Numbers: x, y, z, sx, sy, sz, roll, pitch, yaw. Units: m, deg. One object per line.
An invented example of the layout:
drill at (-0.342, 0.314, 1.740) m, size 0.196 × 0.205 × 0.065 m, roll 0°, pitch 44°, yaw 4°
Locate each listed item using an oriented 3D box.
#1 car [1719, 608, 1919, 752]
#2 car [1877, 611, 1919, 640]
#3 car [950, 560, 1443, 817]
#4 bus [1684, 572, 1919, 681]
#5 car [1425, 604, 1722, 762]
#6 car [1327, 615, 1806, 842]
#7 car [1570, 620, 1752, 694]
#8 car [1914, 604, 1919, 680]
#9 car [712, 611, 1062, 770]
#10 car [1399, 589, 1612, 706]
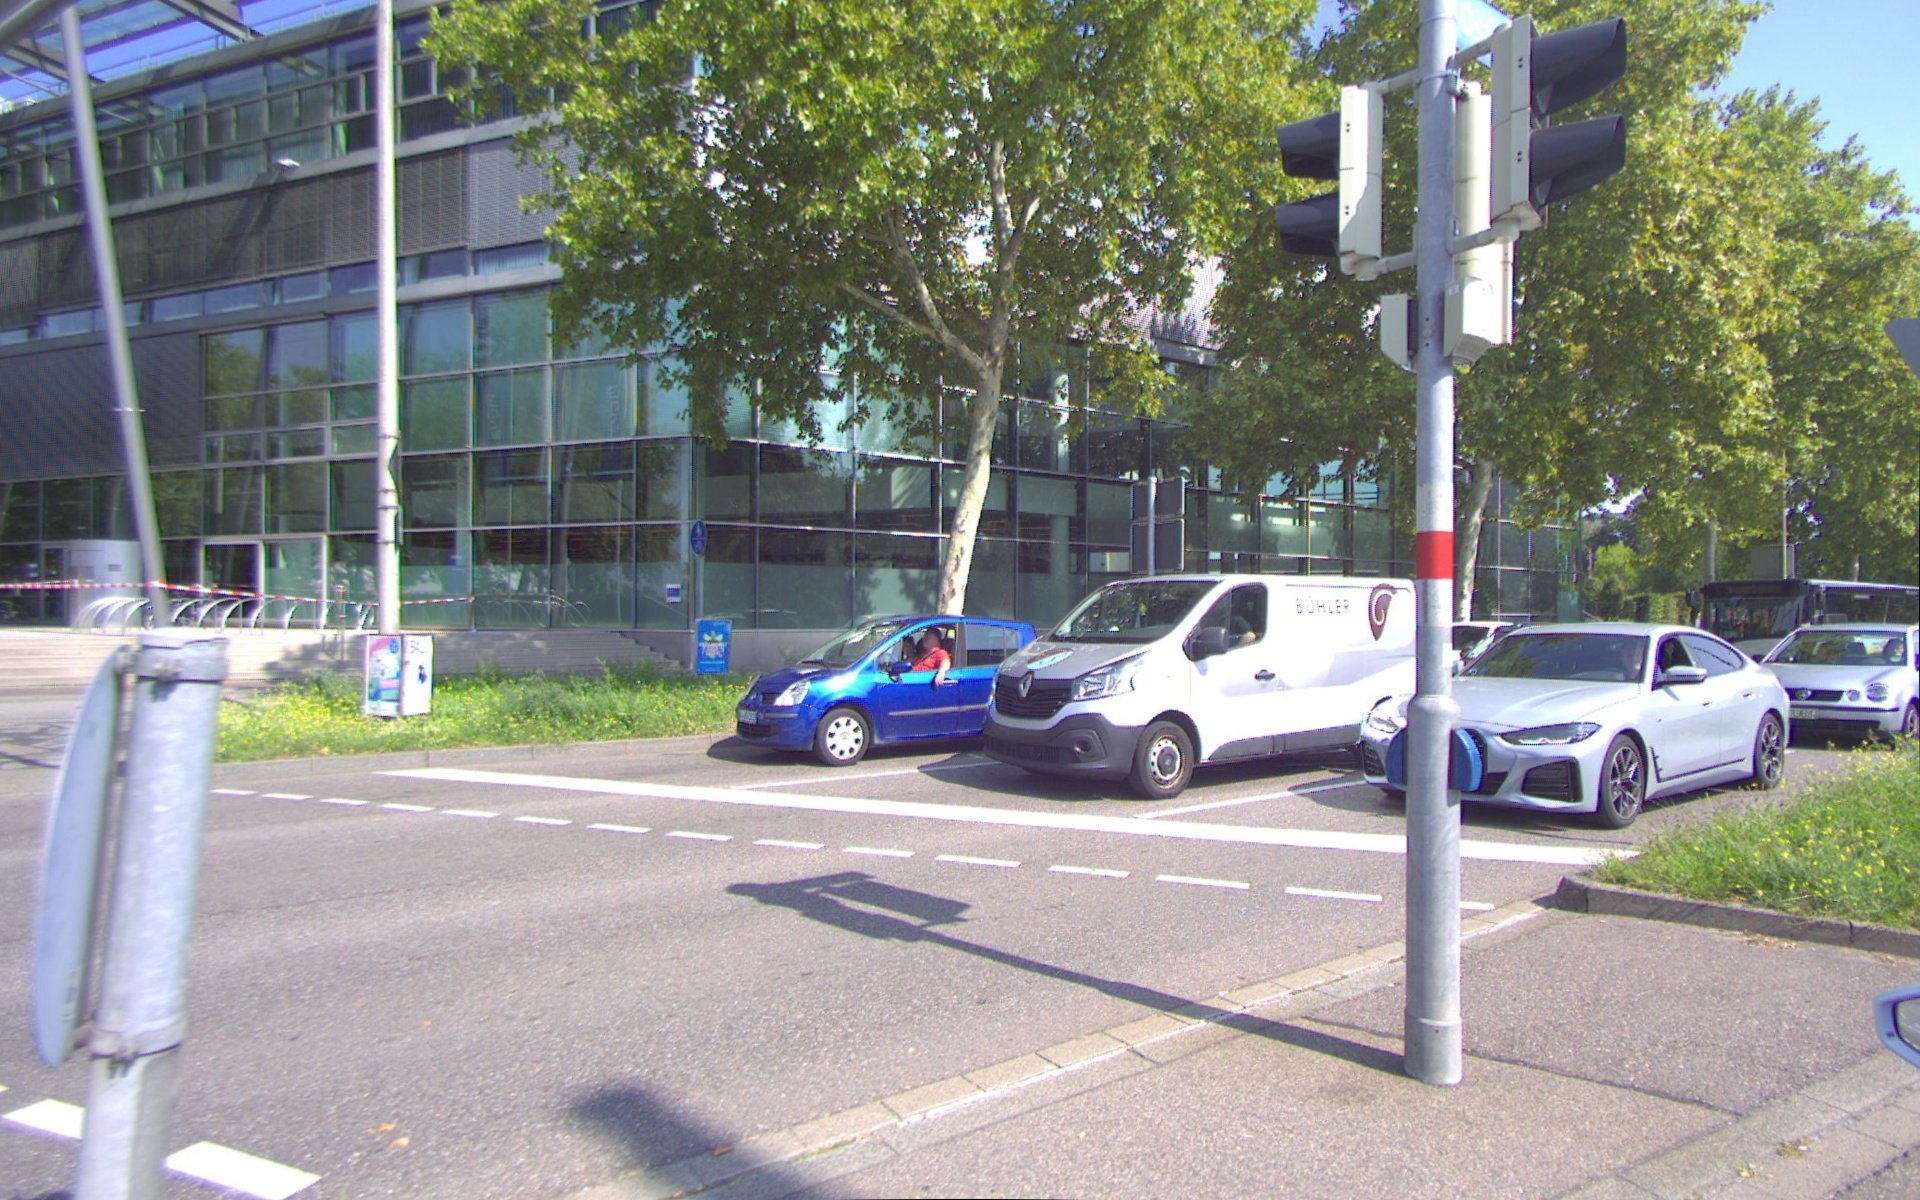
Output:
car at (11.395, 0.901, 12.775) m, size 4.060 × 1.555 × 1.604 m, roll 0°, pitch -2°, yaw -35°
car at (85.940, 2.301, 89.755) m, size 2.256 × 2.369 × 5.546 m, roll -2°, pitch 2°, yaw -35°
car at (2.544, 0.695, 10.046) m, size 5.161 × 1.984 × 1.914 m, roll 0°, pitch 0°, yaw -36°
bus at (24.906, 0.824, 29.360) m, size 10.796 × 2.729 × 2.645 m, roll 2°, pitch -3°, yaw -35°
car at (8.565, 1.063, 13.895) m, size 4.654 × 1.873 × 1.707 m, roll 1°, pitch -3°, yaw -34°
car at (5.309, 0.903, 8.574) m, size 4.560 × 1.462 × 1.824 m, roll 1°, pitch -3°, yaw -35°
car at (16.285, 1.291, 23.249) m, size 5.160 × 1.530 × 1.768 m, roll 2°, pitch -3°, yaw -35°
car at (27.878, 1.070, 27.236) m, size 5.138 × 1.986 × 1.915 m, roll 0°, pitch -2°, yaw -35°
car at (-0.783, 0.955, 11.532) m, size 3.691 × 1.555 × 1.658 m, roll 1°, pitch -3°, yaw -33°
car at (10.057, 0.858, 18.442) m, size 3.937 × 1.920 × 1.914 m, roll 2°, pitch -3°, yaw -36°
